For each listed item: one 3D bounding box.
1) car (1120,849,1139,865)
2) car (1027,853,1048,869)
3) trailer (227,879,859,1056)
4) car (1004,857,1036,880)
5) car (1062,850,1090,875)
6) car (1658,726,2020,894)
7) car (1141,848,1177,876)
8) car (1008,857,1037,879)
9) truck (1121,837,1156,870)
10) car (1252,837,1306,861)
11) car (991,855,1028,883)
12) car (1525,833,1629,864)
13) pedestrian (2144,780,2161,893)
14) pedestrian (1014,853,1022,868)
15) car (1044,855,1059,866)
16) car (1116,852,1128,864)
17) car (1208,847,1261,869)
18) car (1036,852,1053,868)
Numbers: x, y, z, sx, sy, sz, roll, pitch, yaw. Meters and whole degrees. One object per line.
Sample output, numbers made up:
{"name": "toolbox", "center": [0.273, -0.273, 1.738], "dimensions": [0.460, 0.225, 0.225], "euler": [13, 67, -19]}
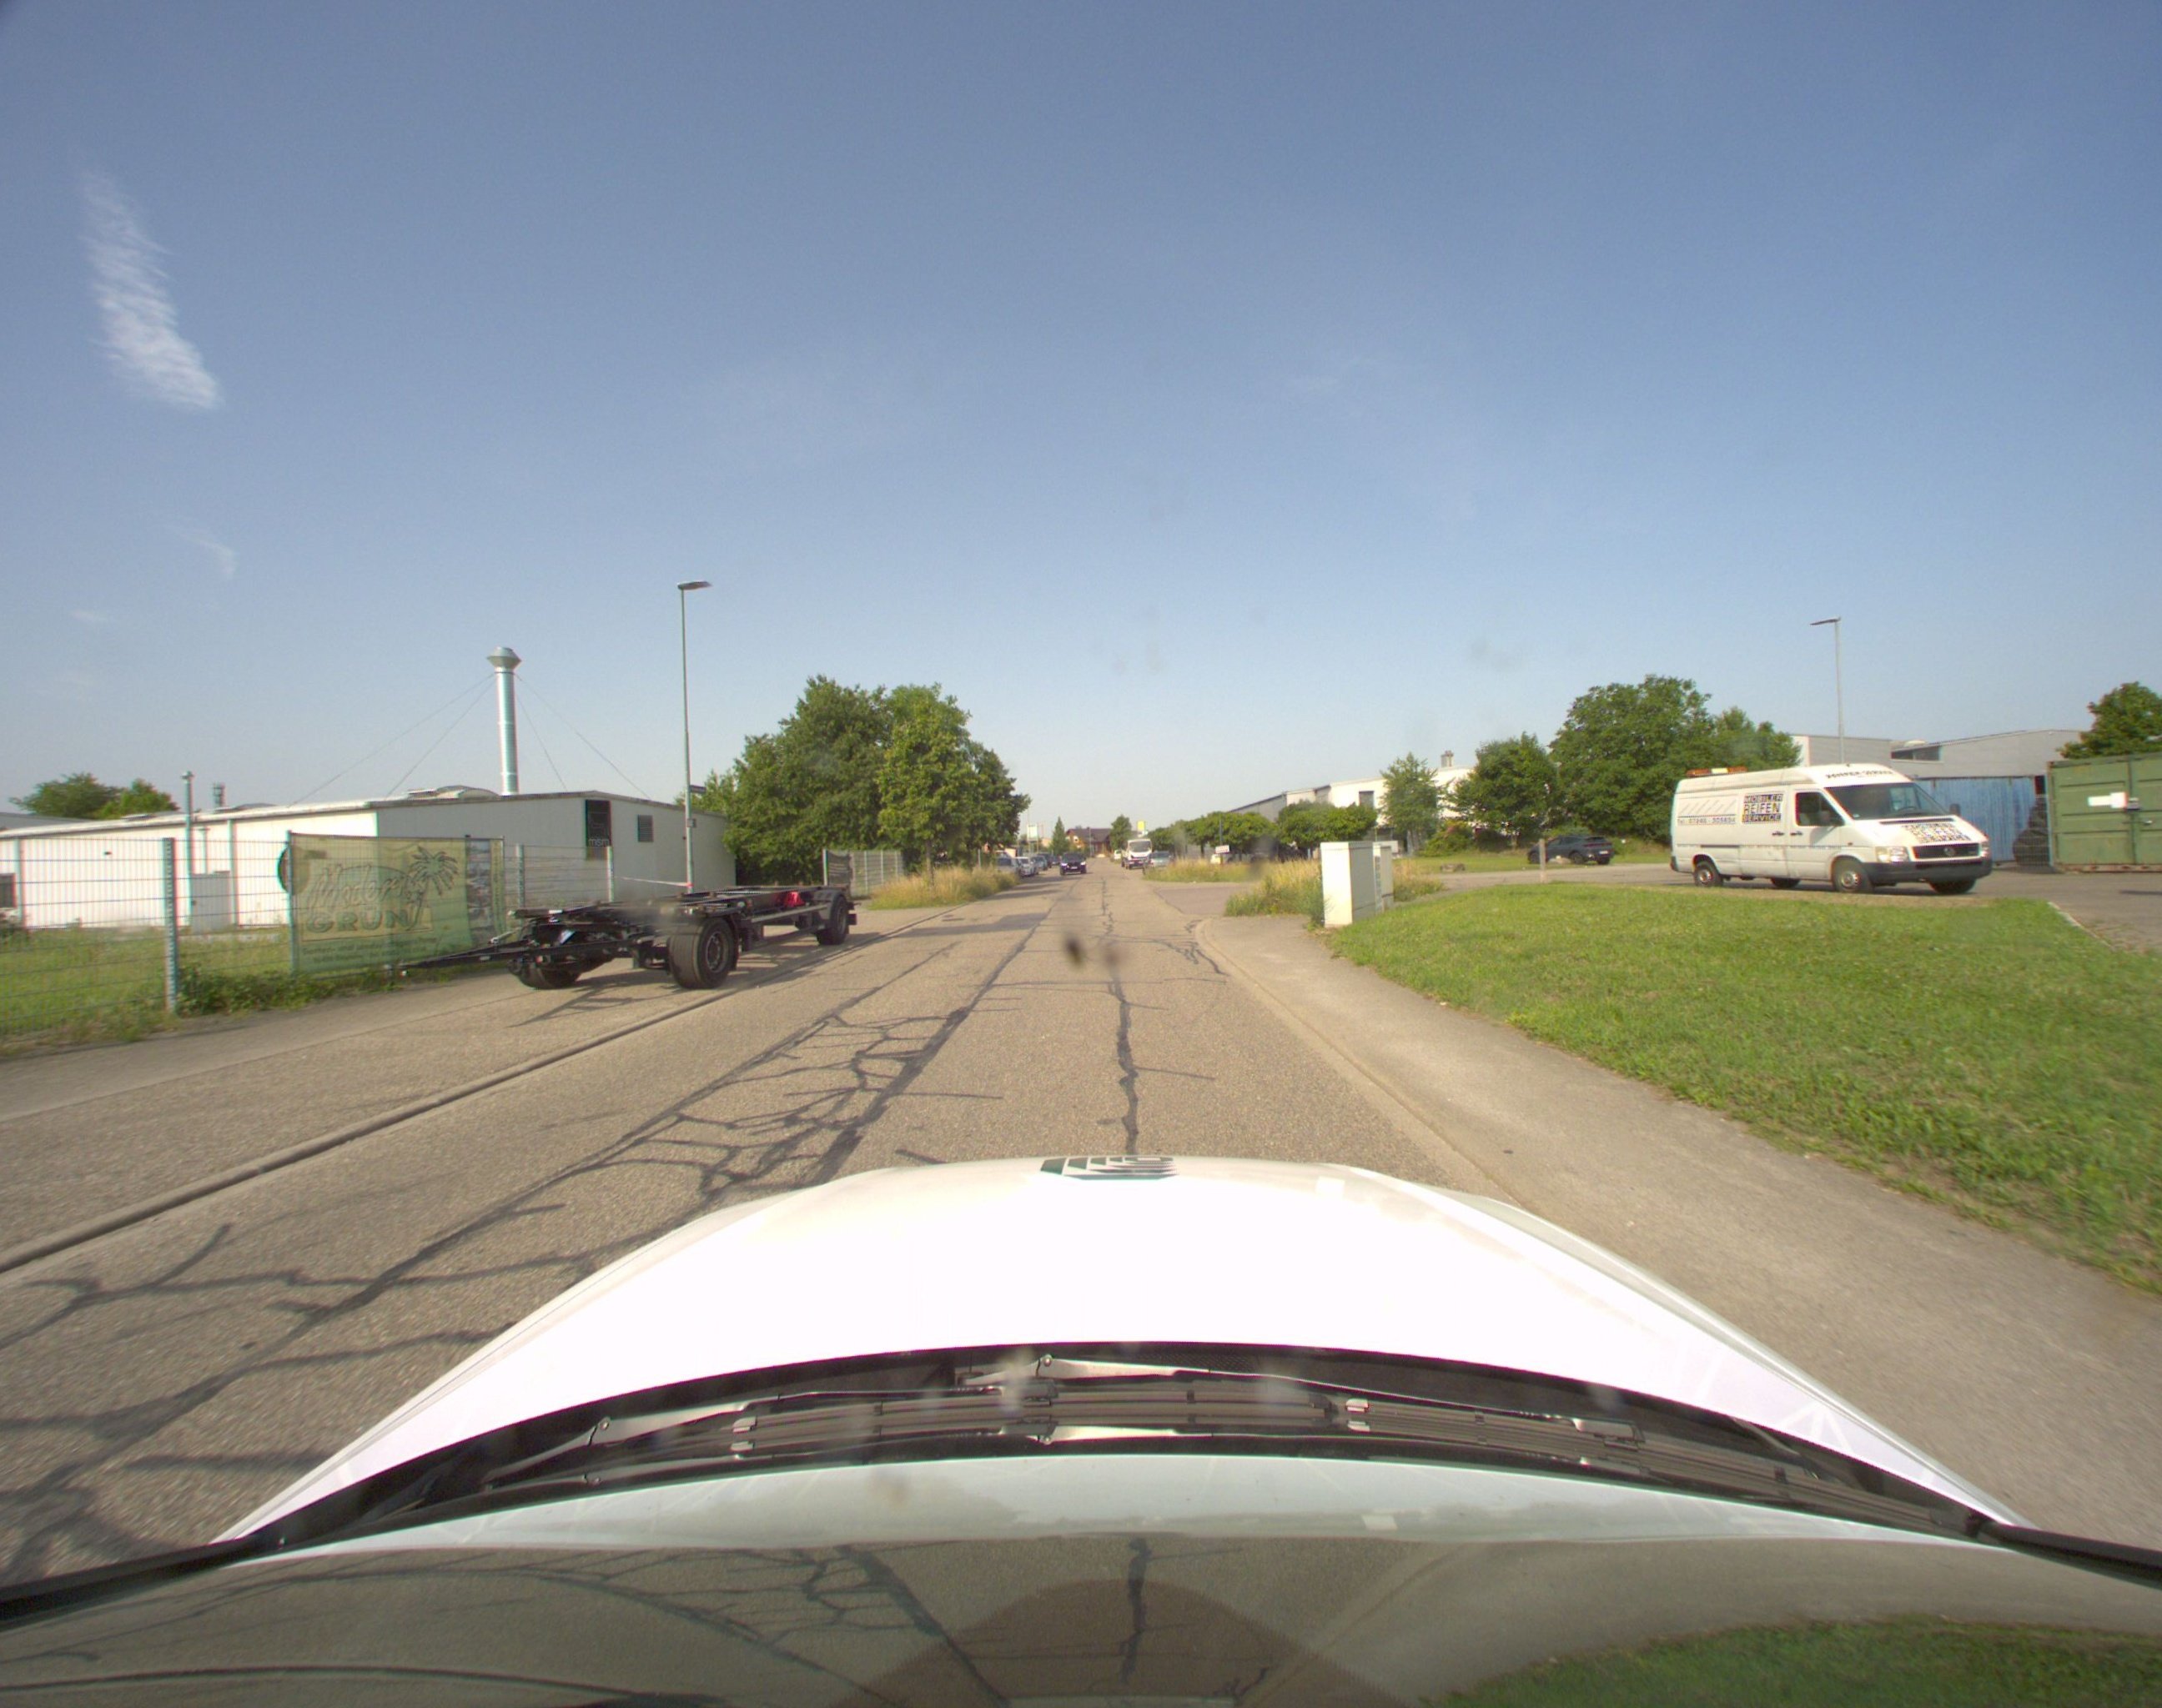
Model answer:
{"name": "car", "center": [5.056, 0.287, 85.031], "dimensions": [1.788, 1.560, 4.001], "euler": [-3, 0, 2]}
{"name": "car", "center": [-4.381, 0.719, 81.757], "dimensions": [1.626, 1.517, 3.609], "euler": [-1, 0, 4]}
{"name": "trailer", "center": [-5.812, 1.099, 11.538], "dimensions": [2.573, 1.184, 9.364], "euler": [-1, 0, 1]}
{"name": "car", "center": [-4.043, 0.972, 54.539], "dimensions": [1.572, 1.443, 3.966], "euler": [-1, 0, 3]}
{"name": "car", "center": [-0.313, 0.637, 62.152], "dimensions": [1.849, 1.715, 4.228], "euler": [-4, 0, 2]}
{"name": "car", "center": [14.619, -0.726, 16.423], "dimensions": [1.966, 2.705, 5.885], "euler": [-2, 0, 3]}
{"name": "car", "center": [4.649, 0.479, 49.039], "dimensions": [1.788, 1.517, 4.425], "euler": [-3, 0, 1]}
{"name": "car", "center": [-4.229, 0.994, 59.728], "dimensions": [1.677, 1.469, 4.255], "euler": [-1, 0, 1]}
{"name": "truck", "center": [5.046, -0.035, 72.757], "dimensions": [2.353, 2.681, 6.505], "euler": [-3, 0, -2]}
{"name": "car", "center": [14.818, -0.382, 60.868], "dimensions": [4.560, 1.589, 1.667], "euler": [-3, 0, -43]}
{"name": "car", "center": [-4.319, 0.888, 49.665], "dimensions": [1.559, 1.538, 3.692], "euler": [-3, 0, 4]}
{"name": "car", "center": [24.758, -0.228, 40.832], "dimensions": [1.785, 1.409, 4.323], "euler": [-3, 0, -16]}
{"name": "pedestrian", "center": [15.916, -0.259, 11.571], "dimensions": [0.696, 1.640, 0.753], "euler": [-2, 0, 30]}
{"name": "pedestrian", "center": [-7.196, 0.758, 93.106], "dimensions": [0.566, 1.715, 0.528], "euler": [-2, 0, -36]}
{"name": "car", "center": [-3.929, 0.843, 108.462], "dimensions": [1.793, 1.386, 3.638], "euler": [-1, 0, 1]}
{"name": "car", "center": [6.841, 0.665, 135.018], "dimensions": [1.831, 1.924, 3.757], "euler": [-3, 0, 2]}
{"name": "car", "center": [10.897, 0.266, 57.681], "dimensions": [3.716, 1.380, 1.668], "euler": [-3, 0, -39]}
{"name": "car", "center": [-4.248, 0.696, 95.814], "dimensions": [1.793, 1.774, 4.203], "euler": [-1, 0, 1]}
